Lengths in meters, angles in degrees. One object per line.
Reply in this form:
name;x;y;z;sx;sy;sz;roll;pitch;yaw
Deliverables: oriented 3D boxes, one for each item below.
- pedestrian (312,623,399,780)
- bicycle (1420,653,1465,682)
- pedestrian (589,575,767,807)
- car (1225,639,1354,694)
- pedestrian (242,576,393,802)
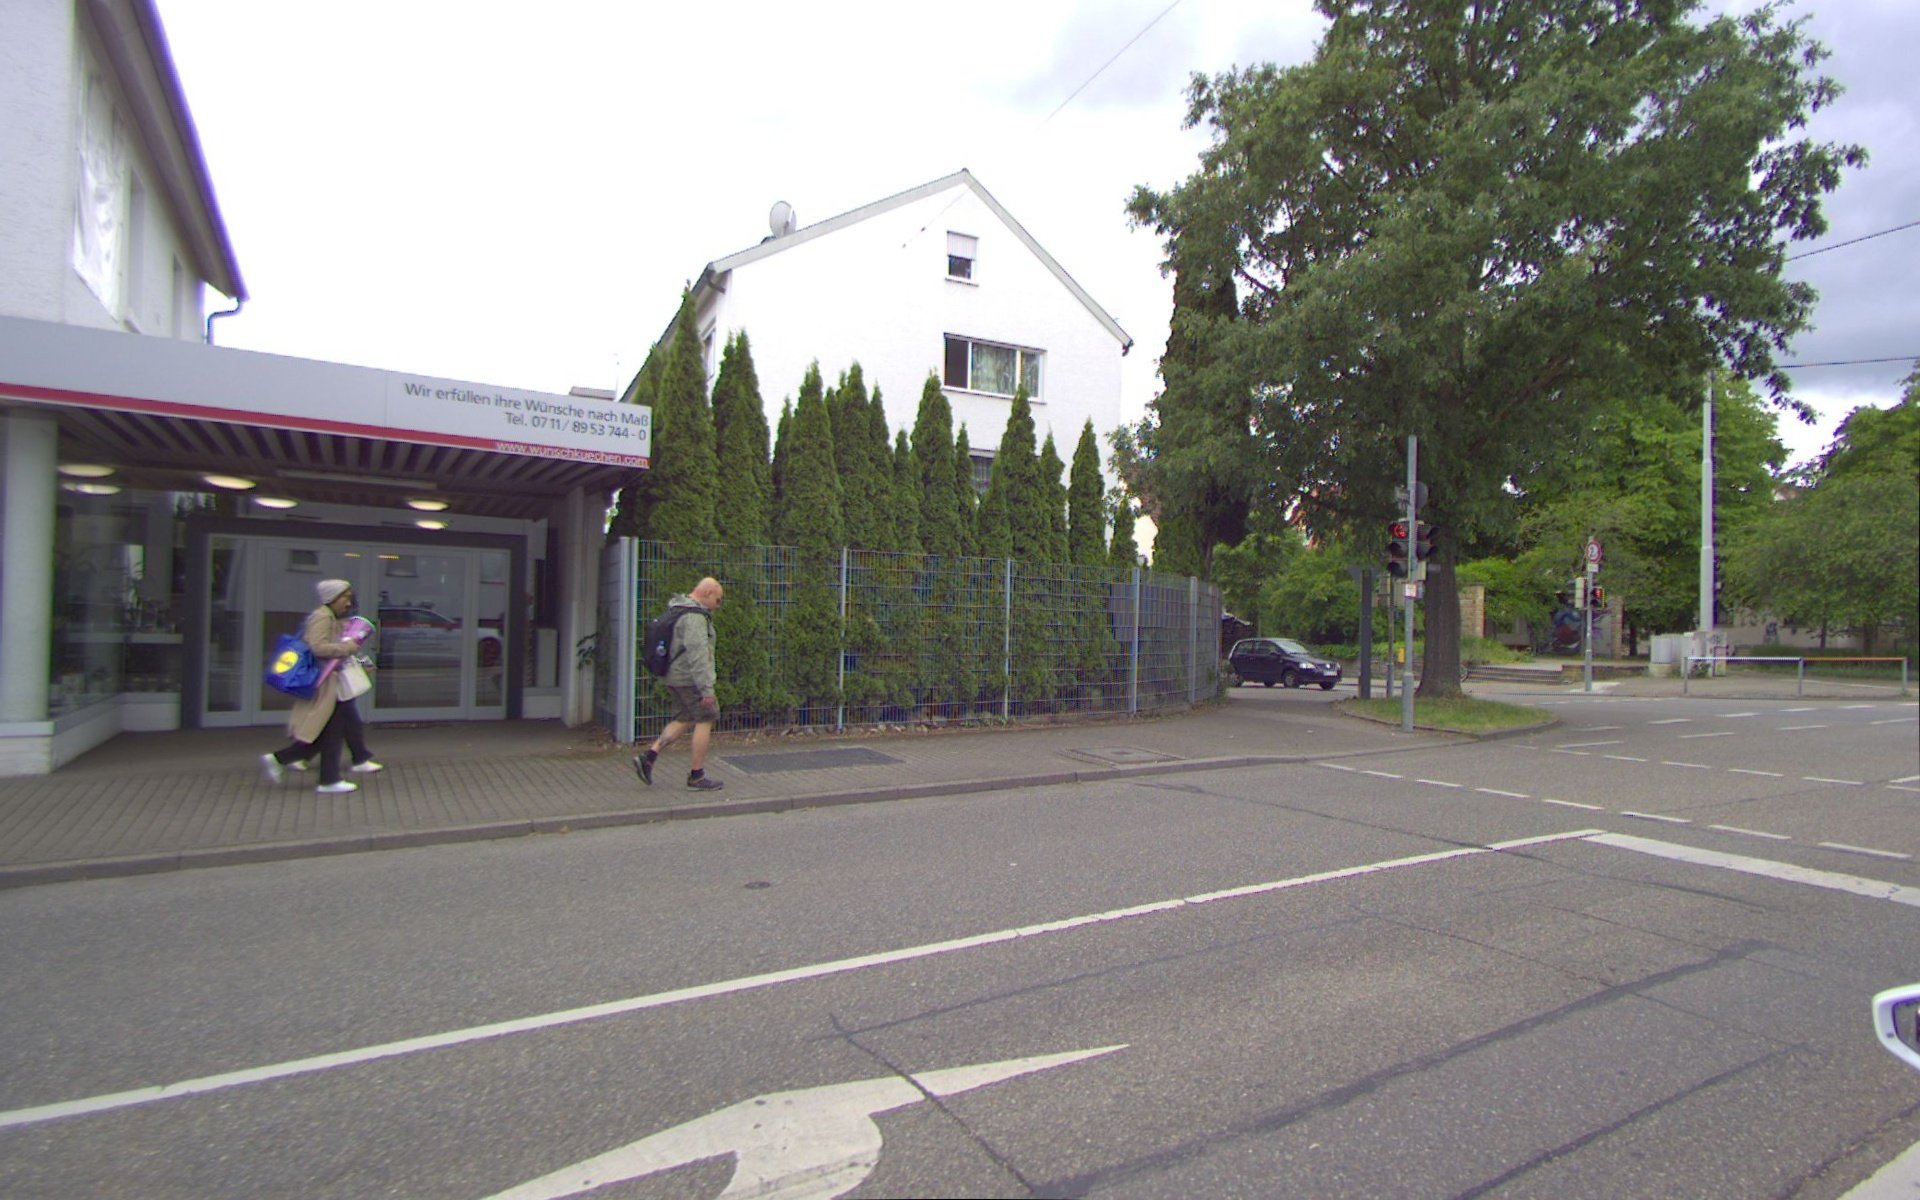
pedestrian;-5.165;0.846;8.583;0.546;1.278;0.378;2;0;-41
bicycle;16.389;2.283;34.112;0.421;0.954;1.304;2;-4;-37
pedestrian;-2.346;0.710;8.343;1.215;1.777;0.817;2;0;-30
car;9.876;1.973;30.339;1.747;1.417;3.626;3;-1;-23
pedestrian;-4.960;0.646;7.755;0.860;1.627;0.634;2;0;-41
